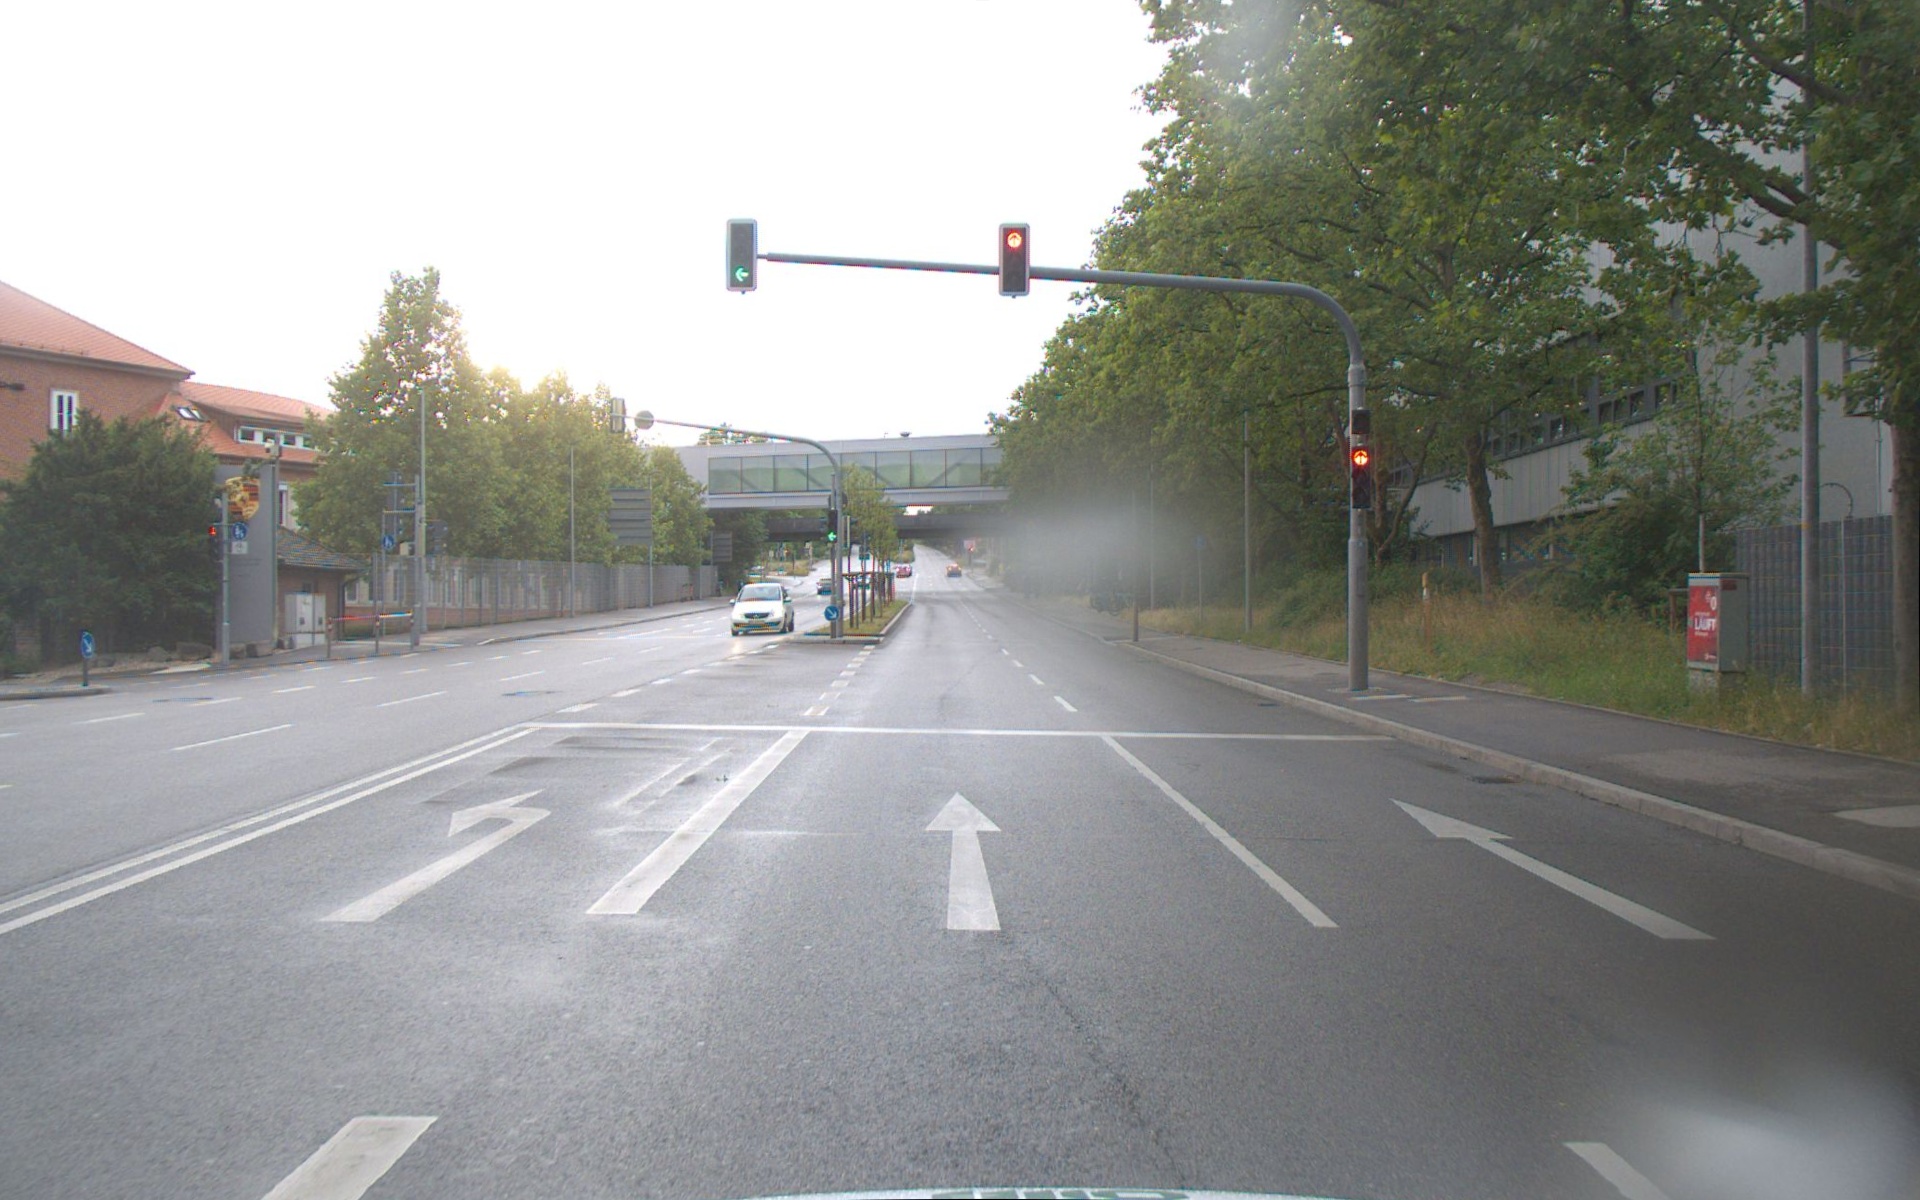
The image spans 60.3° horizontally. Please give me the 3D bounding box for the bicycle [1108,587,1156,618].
[{"bbox_3d":[7.240,0.115,69.766,1.949,1.237,0.541,2,-1,0],"label":"bicycle"}]

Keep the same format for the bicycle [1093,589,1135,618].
[{"bbox_3d":[7.505,0.194,80.703,1.949,1.352,0.576,2,-1,0],"label":"bicycle"}]

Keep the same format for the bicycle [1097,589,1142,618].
[{"bbox_3d":[7.195,0.153,74.724,1.949,1.263,0.541,2,-1,0],"label":"bicycle"}]

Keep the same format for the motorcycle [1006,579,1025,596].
[{"bbox_3d":[4.654,-1.042,139.307,0.778,1.334,2.364,-1,0,-18],"label":"motorcycle"}]

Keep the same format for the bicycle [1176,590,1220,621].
[{"bbox_3d":[11.103,0.265,77.060,1.949,1.352,0.576,2,-1,0],"label":"bicycle"}]

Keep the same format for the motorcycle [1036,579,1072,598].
[{"bbox_3d":[6.370,-0.765,111.761,2.318,1.223,0.723,-1,0,7],"label":"motorcycle"}]

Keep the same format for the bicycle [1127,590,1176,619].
[{"bbox_3d":[7.916,0.182,68.311,1.949,1.114,0.541,2,-1,0],"label":"bicycle"}]

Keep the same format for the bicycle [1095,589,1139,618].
[{"bbox_3d":[7.186,0.163,75.673,1.949,1.263,0.541,2,-1,0],"label":"bicycle"}]

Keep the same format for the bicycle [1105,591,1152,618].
[{"bbox_3d":[7.277,0.186,71.373,1.949,1.114,0.541,2,-1,0],"label":"bicycle"}]

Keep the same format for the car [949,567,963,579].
[{"bbox_3d":[-0.494,-3.529,216.950,1.837,1.523,4.068,2,-1,0],"label":"car"}]

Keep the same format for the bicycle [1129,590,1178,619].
[{"bbox_3d":[7.918,0.176,67.742,1.949,1.114,0.541,2,-1,0],"label":"bicycle"}]

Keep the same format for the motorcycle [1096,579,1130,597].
[{"bbox_3d":[10.680,-0.820,115.342,2.318,1.223,0.723,-1,0,7],"label":"motorcycle"}]

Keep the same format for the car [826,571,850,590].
[{"bbox_3d":[-11.145,-1.790,151.066,1.839,1.653,3.778,-1,0,0],"label":"car"}]

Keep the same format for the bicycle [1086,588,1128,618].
[{"bbox_3d":[7.013,0.160,78.951,1.949,1.352,0.576,2,-1,0],"label":"bicycle"}]

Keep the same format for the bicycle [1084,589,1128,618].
[{"bbox_3d":[6.788,0.165,77.045,1.949,1.263,0.541,2,-1,0],"label":"bicycle"}]

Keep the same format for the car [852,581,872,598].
[{"bbox_3d":[-9.990,-1.091,168.929,1.839,1.653,3.778,-1,0,0],"label":"car"}]

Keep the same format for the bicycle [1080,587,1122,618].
[{"bbox_3d":[6.948,0.121,81.437,1.949,1.455,0.723,2,-1,0],"label":"bicycle"}]

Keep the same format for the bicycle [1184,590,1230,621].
[{"bbox_3d":[11.215,0.247,75.082,1.949,1.352,0.576,2,-1,0],"label":"bicycle"}]

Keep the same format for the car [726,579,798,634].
[{"bbox_3d":[-6.342,0.187,53.400,1.839,1.653,3.778,-1,0,0],"label":"car"}]

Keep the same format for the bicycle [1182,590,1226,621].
[{"bbox_3d":[11.193,0.255,75.895,1.949,1.352,0.576,2,-1,0],"label":"bicycle"}]

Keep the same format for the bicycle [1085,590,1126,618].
[{"bbox_3d":[7.237,0.191,82.293,1.949,1.352,0.576,2,-1,0],"label":"bicycle"}]

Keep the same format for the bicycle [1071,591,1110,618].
[{"bbox_3d":[6.827,0.223,86.530,1.922,1.352,0.654,2,-1,0],"label":"bicycle"}]

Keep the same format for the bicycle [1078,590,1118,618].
[{"bbox_3d":[6.912,0.201,83.002,1.949,1.352,0.576,2,-1,0],"label":"bicycle"}]

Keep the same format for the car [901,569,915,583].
[{"bbox_3d":[-7.106,-3.225,226.564,1.846,1.792,3.968,2,-1,0],"label":"car"}]

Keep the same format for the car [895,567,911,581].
[{"bbox_3d":[-7.557,-3.467,220.281,1.953,1.792,3.999,2,-1,0],"label":"car"}]

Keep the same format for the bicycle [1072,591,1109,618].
[{"bbox_3d":[6.976,0.249,88.473,1.922,1.352,0.654,2,-1,0],"label":"bicycle"}]

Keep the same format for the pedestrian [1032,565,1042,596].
[{"bbox_3d":[5.234,-1.314,112.077,0.609,2.049,0.605,-1,0,0],"label":"pedestrian"}]

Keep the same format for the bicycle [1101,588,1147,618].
[{"bbox_3d":[7.266,0.142,73.459,1.949,1.263,0.541,2,-1,0],"label":"bicycle"}]

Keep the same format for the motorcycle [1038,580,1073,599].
[{"bbox_3d":[6.655,-0.727,115.422,2.318,1.223,0.723,-1,0,7],"label":"motorcycle"}]

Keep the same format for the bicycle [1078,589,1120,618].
[{"bbox_3d":[6.691,0.159,79.758,1.949,1.352,0.576,2,-1,0],"label":"bicycle"}]

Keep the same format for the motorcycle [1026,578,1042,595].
[{"bbox_3d":[6.009,-1.069,134.288,0.775,1.334,2.372,-1,0,-9],"label":"motorcycle"}]

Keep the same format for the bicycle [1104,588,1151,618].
[{"bbox_3d":[7.292,0.131,71.955,1.949,1.255,0.541,2,-1,0],"label":"bicycle"}]

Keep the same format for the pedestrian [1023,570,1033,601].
[{"bbox_3d":[4.616,-0.993,112.420,0.609,2.049,0.605,-1,0,0],"label":"pedestrian"}]

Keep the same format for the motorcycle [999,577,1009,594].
[{"bbox_3d":[4.188,-1.395,158.638,0.774,1.560,2.376,-1,0,-2],"label":"motorcycle"}]
